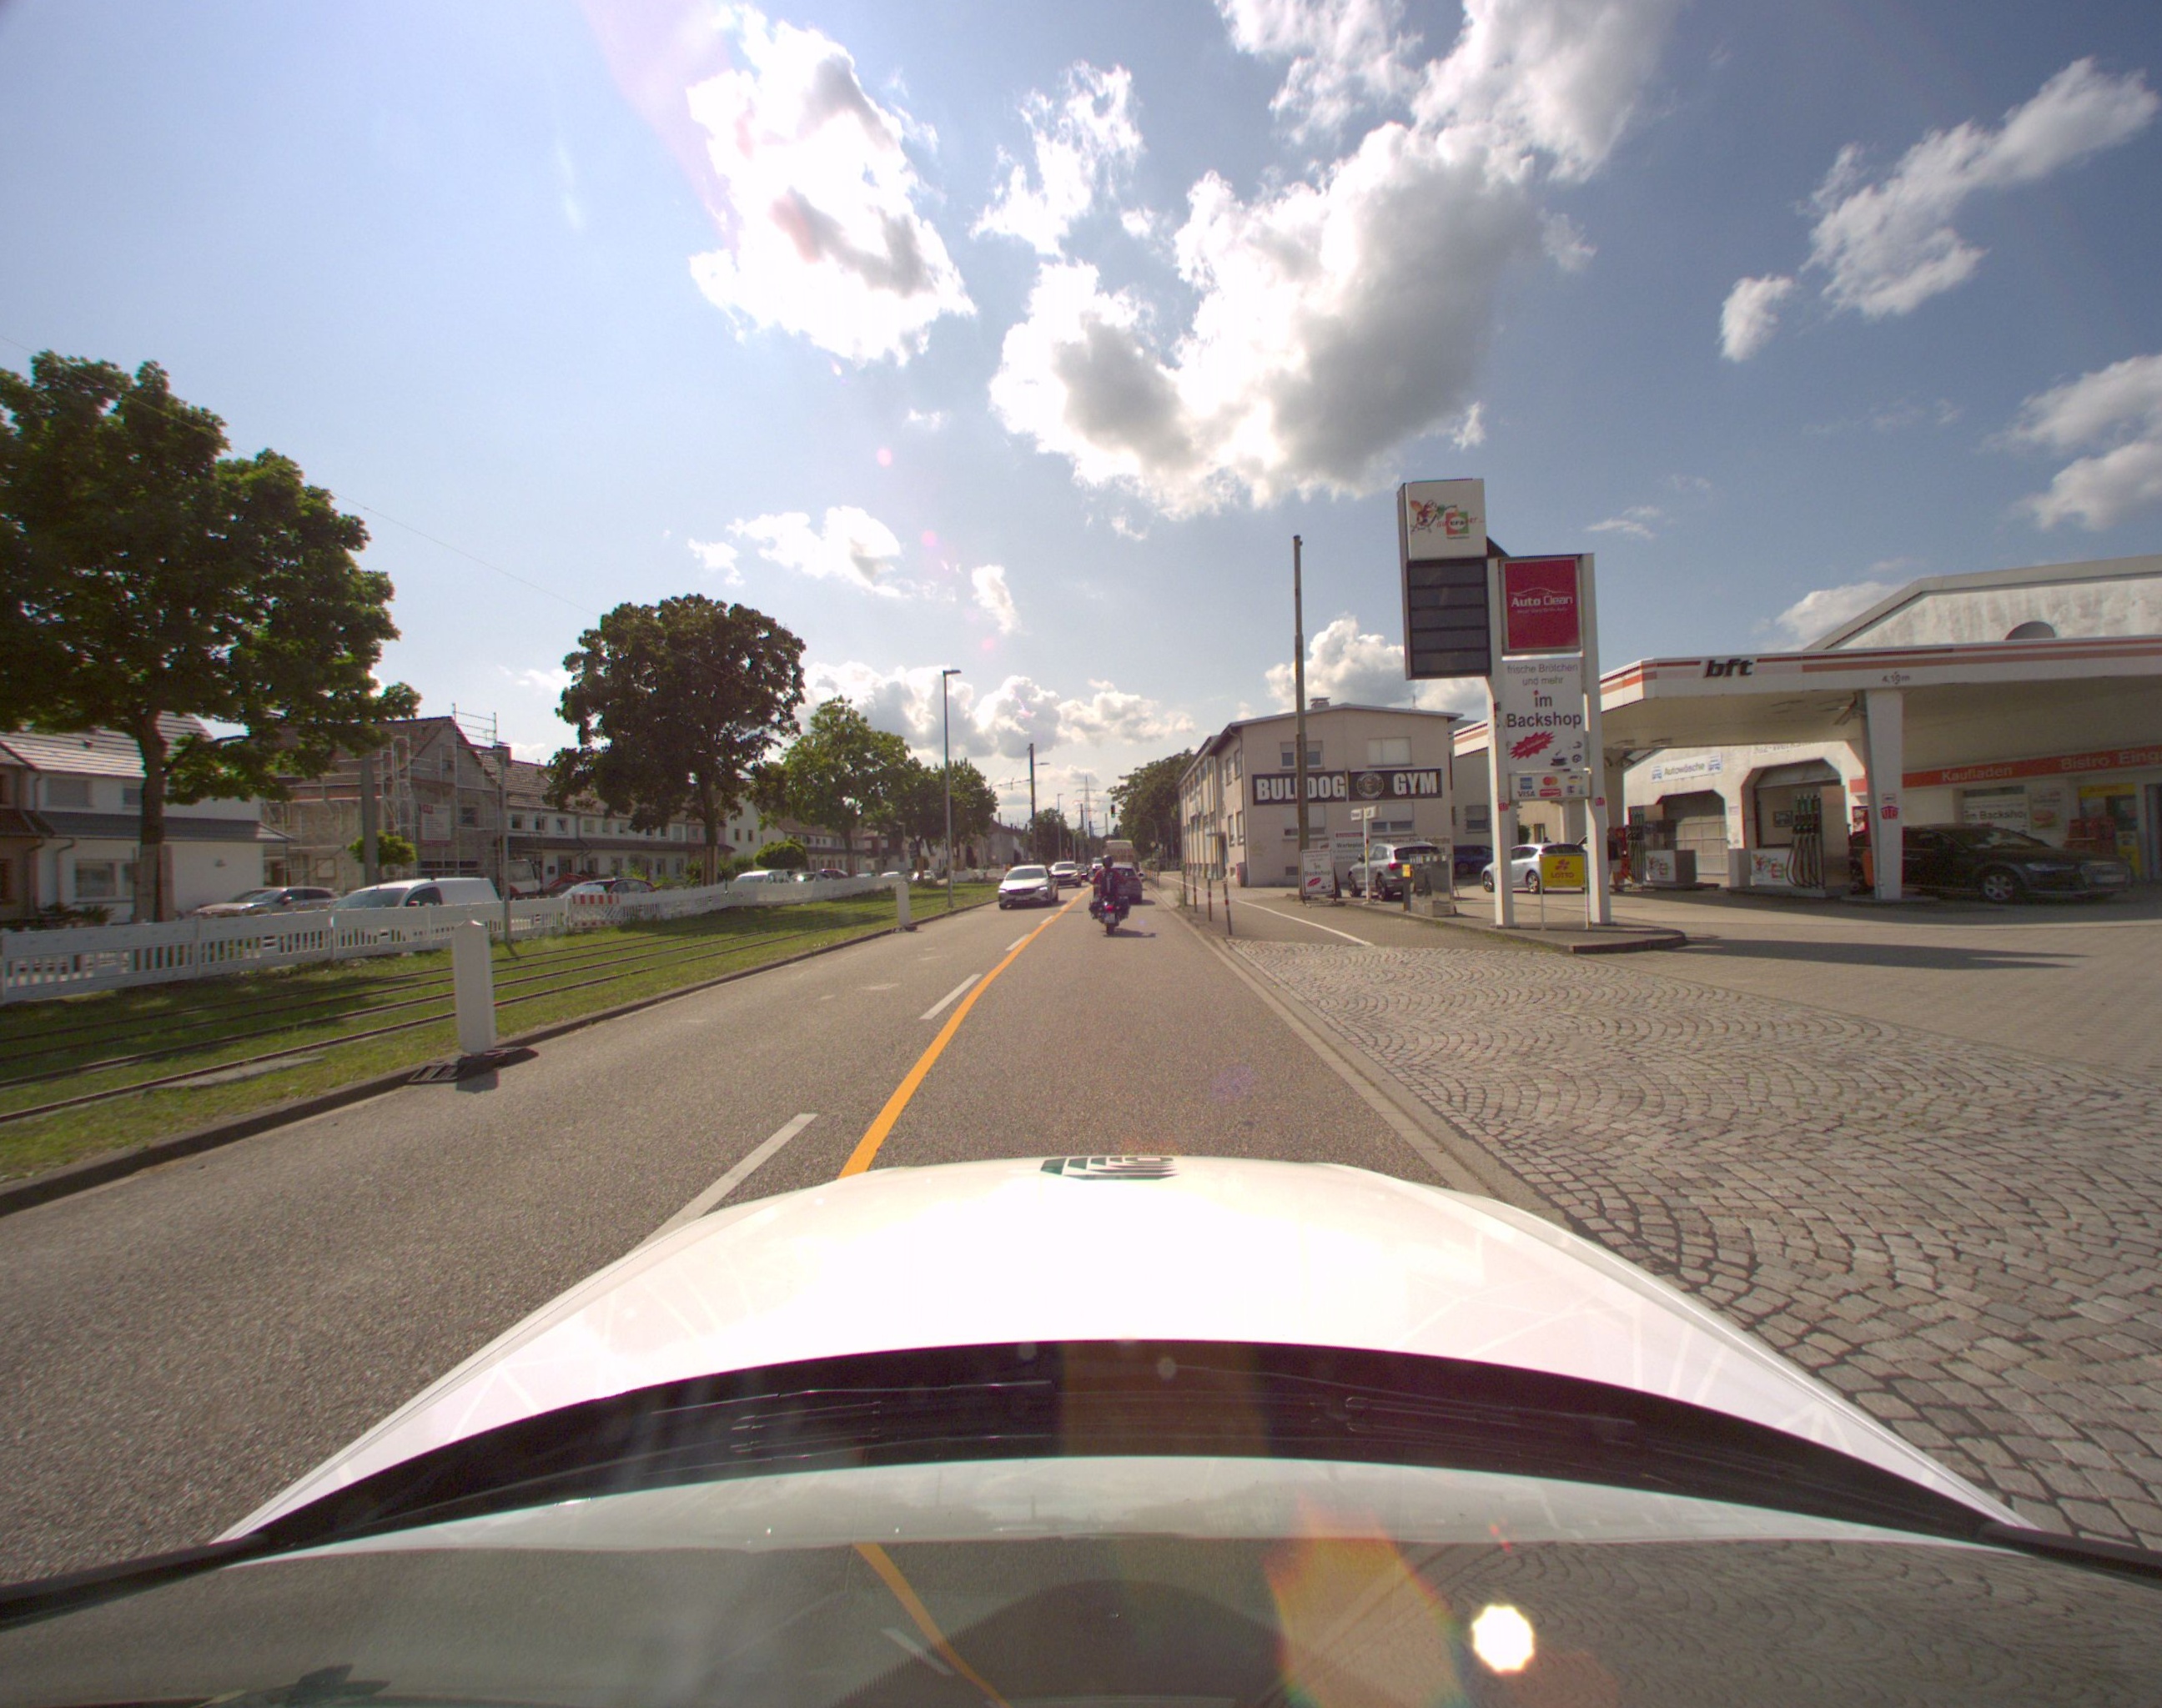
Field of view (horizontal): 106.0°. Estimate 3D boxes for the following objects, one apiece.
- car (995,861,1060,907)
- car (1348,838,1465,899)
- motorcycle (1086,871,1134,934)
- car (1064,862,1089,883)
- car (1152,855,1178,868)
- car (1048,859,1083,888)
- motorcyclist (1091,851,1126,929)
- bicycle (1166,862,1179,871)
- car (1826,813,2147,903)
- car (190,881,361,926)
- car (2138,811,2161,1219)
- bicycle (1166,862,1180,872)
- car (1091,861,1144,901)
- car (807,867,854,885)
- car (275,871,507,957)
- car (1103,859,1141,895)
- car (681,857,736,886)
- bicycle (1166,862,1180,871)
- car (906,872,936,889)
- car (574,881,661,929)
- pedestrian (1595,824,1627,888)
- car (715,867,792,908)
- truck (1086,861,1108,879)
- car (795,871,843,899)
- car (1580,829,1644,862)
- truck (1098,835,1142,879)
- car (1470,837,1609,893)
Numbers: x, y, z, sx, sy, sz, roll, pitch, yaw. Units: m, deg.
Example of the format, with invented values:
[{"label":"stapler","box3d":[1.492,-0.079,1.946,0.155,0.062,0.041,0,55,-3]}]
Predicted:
[{"label":"car","box3d":[-1.854,1.046,29.482,1.814,1.445,4.485,-3,-1,2]},{"label":"car","box3d":[9.579,0.421,24.406,1.937,1.625,4.620,-1,-1,4]},{"label":"motorcycle","box3d":[0.638,0.976,17.243,0.939,1.200,2.474,0,-1,3]},{"label":"car","box3d":[-0.348,1.446,64.497,1.686,1.412,3.861,-6,-1,2]},{"label":"car","box3d":[12.819,1.206,124.147,4.021,1.926,1.781,1,-2,-42]},{"label":"car","box3d":[-0.940,1.214,51.290,1.817,1.666,4.464,-3,-1,2]},{"label":"motorcyclist","box3d":[0.578,0.743,17.012,0.695,1.604,0.692,0,-1,3]},{"label":"bicycle","box3d":[11.738,1.642,104.241,1.698,1.172,0.439,0,-1,8]},{"label":"car","box3d":[18.040,0.042,16.628,1.676,1.520,4.496,-2,1,3]},{"label":"car","box3d":[-27.077,1.607,27.575,1.527,1.275,4.123,-3,-1,3]},{"label":"car","box3d":[5.550,0.508,1.680,4.027,1.408,1.652,-1,-1,10]},{"label":"bicycle","box3d":[11.831,1.673,104.759,1.698,1.172,0.439,0,-1,8]},{"label":"car","box3d":[1.308,0.986,30.675,1.726,1.404,4.083,0,-1,-2]},{"label":"car","box3d":[-24.558,2.140,79.957,3.971,1.510,1.726,-2,-1,1]},{"label":"car","box3d":[-15.274,1.251,18.347,1.646,1.626,4.003,-3,-1,3]},{"label":"car","box3d":[2.242,1.195,44.079,1.893,1.712,4.724,-2,0,4]},{"label":"car","box3d":[-26.984,1.275,59.136,1.986,2.014,4.002,0,-1,2]},{"label":"bicycle","box3d":[11.884,1.624,105.270,1.698,1.172,0.439,0,-1,8]},{"label":"car","box3d":[-12.806,2.109,65.220,1.515,1.354,3.624,0,-1,3]},{"label":"car","box3d":[-14.522,1.557,25.630,1.067,1.348,2.453,-3,-1,6]},{"label":"pedestrian","box3d":[14.907,0.056,22.906,0.495,1.777,0.577,0,-1,0]},{"label":"car","box3d":[-14.551,1.449,36.373,1.616,1.651,3.901,-3,-1,3]},{"label":"truck","box3d":[1.833,1.801,90.623,1.809,1.909,5.128,0,0,8]},{"label":"car","box3d":[-13.971,1.631,43.526,1.344,1.377,3.116,-3,-1,3]},{"label":"car","box3d":[34.359,-0.511,52.845,1.780,2.032,3.847,0,-1,3]},{"label":"truck","box3d":[3.087,0.315,62.485,2.953,3.173,7.775,0,-1,6]},{"label":"car","box3d":[13.808,0.361,24.841,1.686,1.471,4.422,-3,-1,0]}]
